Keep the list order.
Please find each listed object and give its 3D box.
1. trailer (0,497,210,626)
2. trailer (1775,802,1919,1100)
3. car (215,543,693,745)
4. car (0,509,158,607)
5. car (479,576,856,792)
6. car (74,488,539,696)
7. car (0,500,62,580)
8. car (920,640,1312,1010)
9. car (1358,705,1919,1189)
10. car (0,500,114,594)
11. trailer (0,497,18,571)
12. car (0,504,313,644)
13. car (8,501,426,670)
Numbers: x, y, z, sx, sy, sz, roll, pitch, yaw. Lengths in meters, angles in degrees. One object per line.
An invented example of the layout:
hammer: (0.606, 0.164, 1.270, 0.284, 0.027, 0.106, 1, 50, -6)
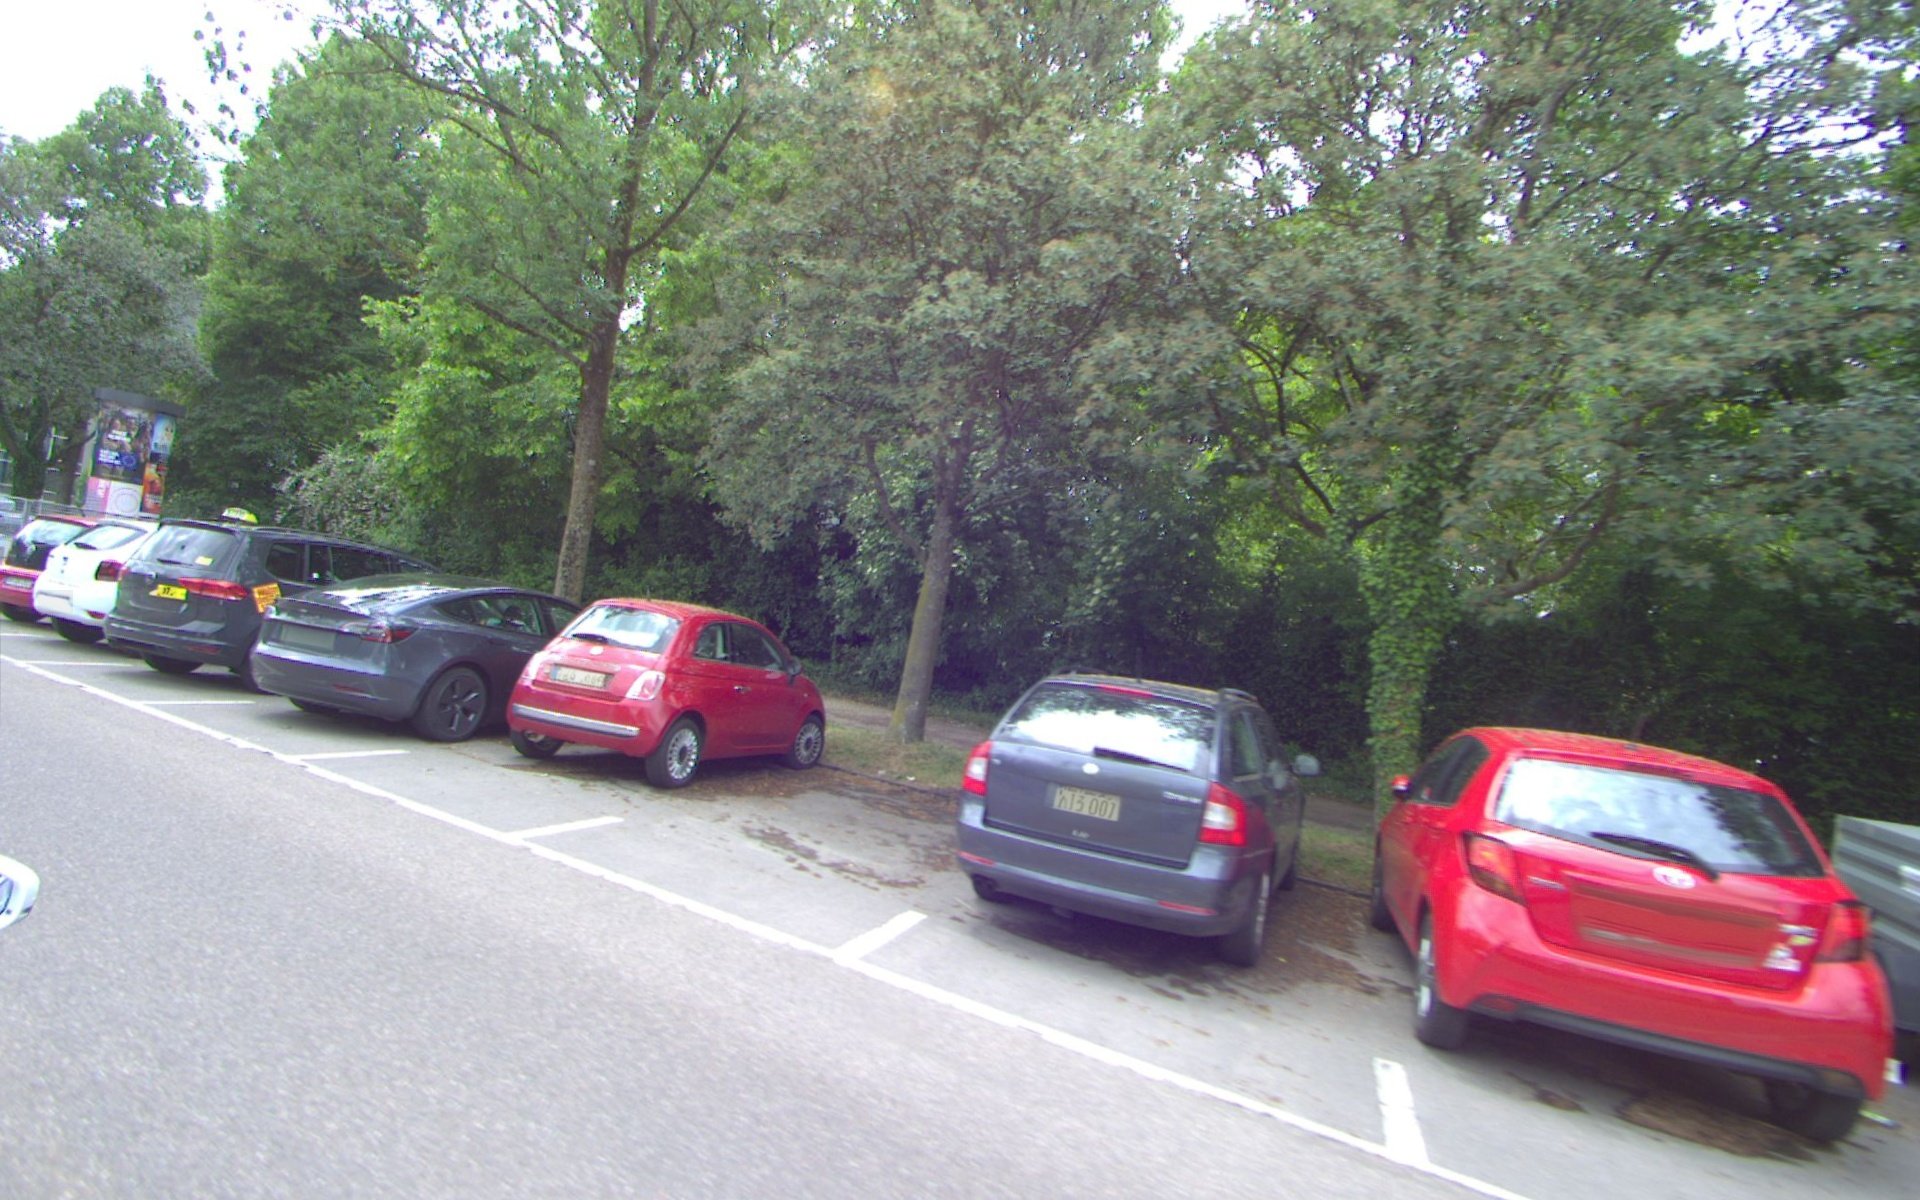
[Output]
trailer: (-13.498, -0.637, 14.664, 1.615, 1.551, 3.706, 8, -3, 19)
trailer: (5.453, 1.870, 4.586, 1.586, 1.281, 3.416, 7, -3, 21)
car: (-4.680, 0.517, 10.114, 1.666, 1.422, 4.178, 7, -3, 20)
car: (-15.630, -0.817, 16.084, 1.530, 1.342, 4.054, 7, -3, 21)
car: (-2.530, 0.791, 9.544, 1.604, 1.480, 3.341, 7, -3, 21)
car: (-6.950, 0.065, 11.260, 1.649, 1.744, 4.003, 7, -3, 21)
car: (-19.958, -1.414, 19.141, 1.603, 1.471, 3.858, 8, -3, 19)
car: (1.395, 1.243, 6.872, 1.605, 1.480, 4.237, 8, -3, 22)
car: (3.290, 1.472, 5.625, 1.562, 1.492, 3.540, 8, -2, 18)
car: (-17.810, -1.126, 17.852, 1.587, 1.503, 3.930, 8, -3, 15)
trailer: (-21.775, -1.635, 20.770, 1.279, 1.559, 3.000, 8, -2, 18)
car: (-11.290, -0.288, 14.076, 1.530, 1.461, 3.440, 7, -3, 18)
car: (-9.109, -0.067, 12.723, 1.577, 1.546, 3.834, 7, -3, 26)
